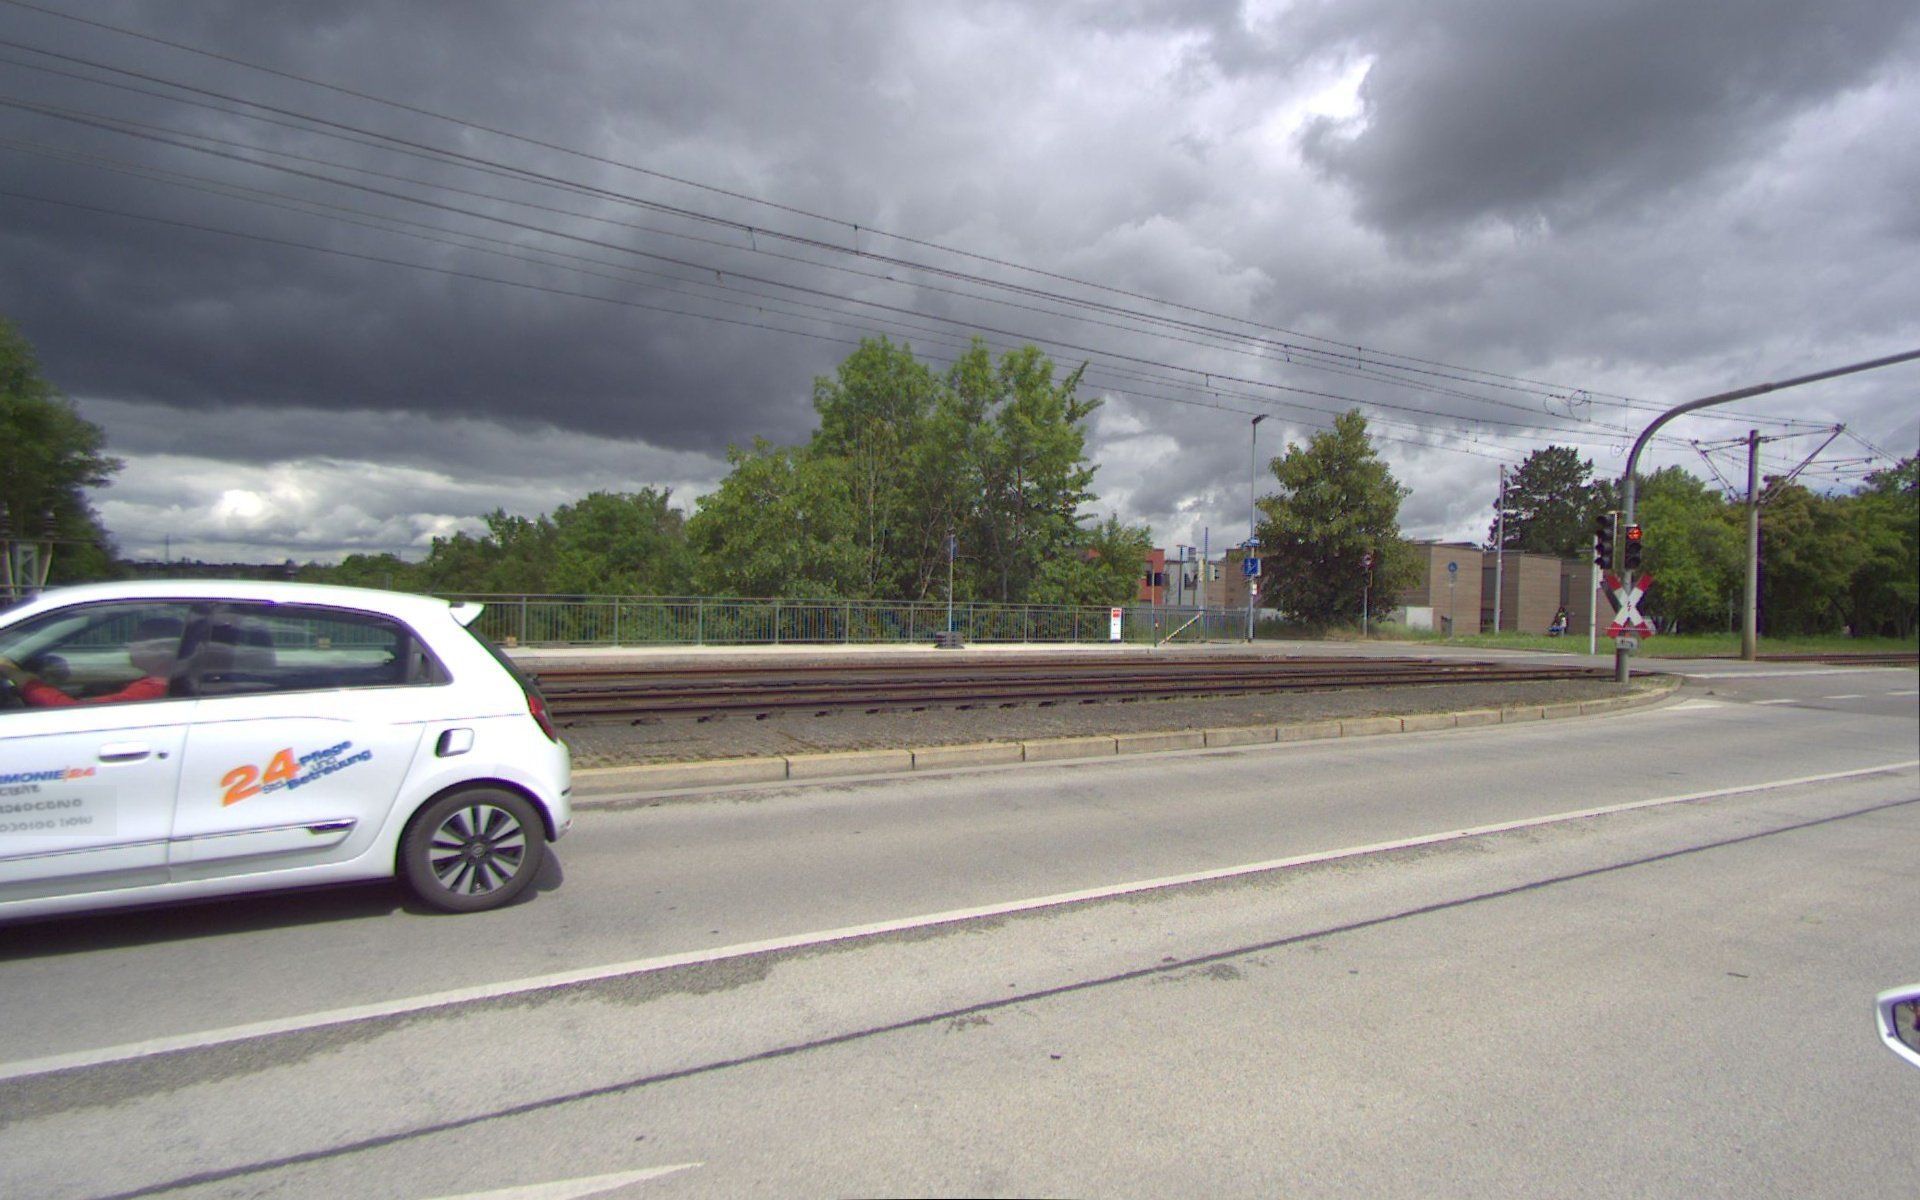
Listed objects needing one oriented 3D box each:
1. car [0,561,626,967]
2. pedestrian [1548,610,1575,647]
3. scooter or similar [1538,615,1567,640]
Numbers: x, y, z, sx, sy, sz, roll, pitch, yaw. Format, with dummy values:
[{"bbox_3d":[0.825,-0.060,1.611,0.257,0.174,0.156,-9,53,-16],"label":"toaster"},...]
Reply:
[{"bbox_3d":[-3.627,0.628,4.771,3.613,1.547,1.585,1,0,-31],"label":"car"},{"bbox_3d":[30.876,1.445,51.540,0.799,1.836,0.798,1,2,-29],"label":"pedestrian"},{"bbox_3d":[30.172,1.394,51.133,0.961,1.200,0.886,1,2,-30],"label":"scooter or similar"}]
